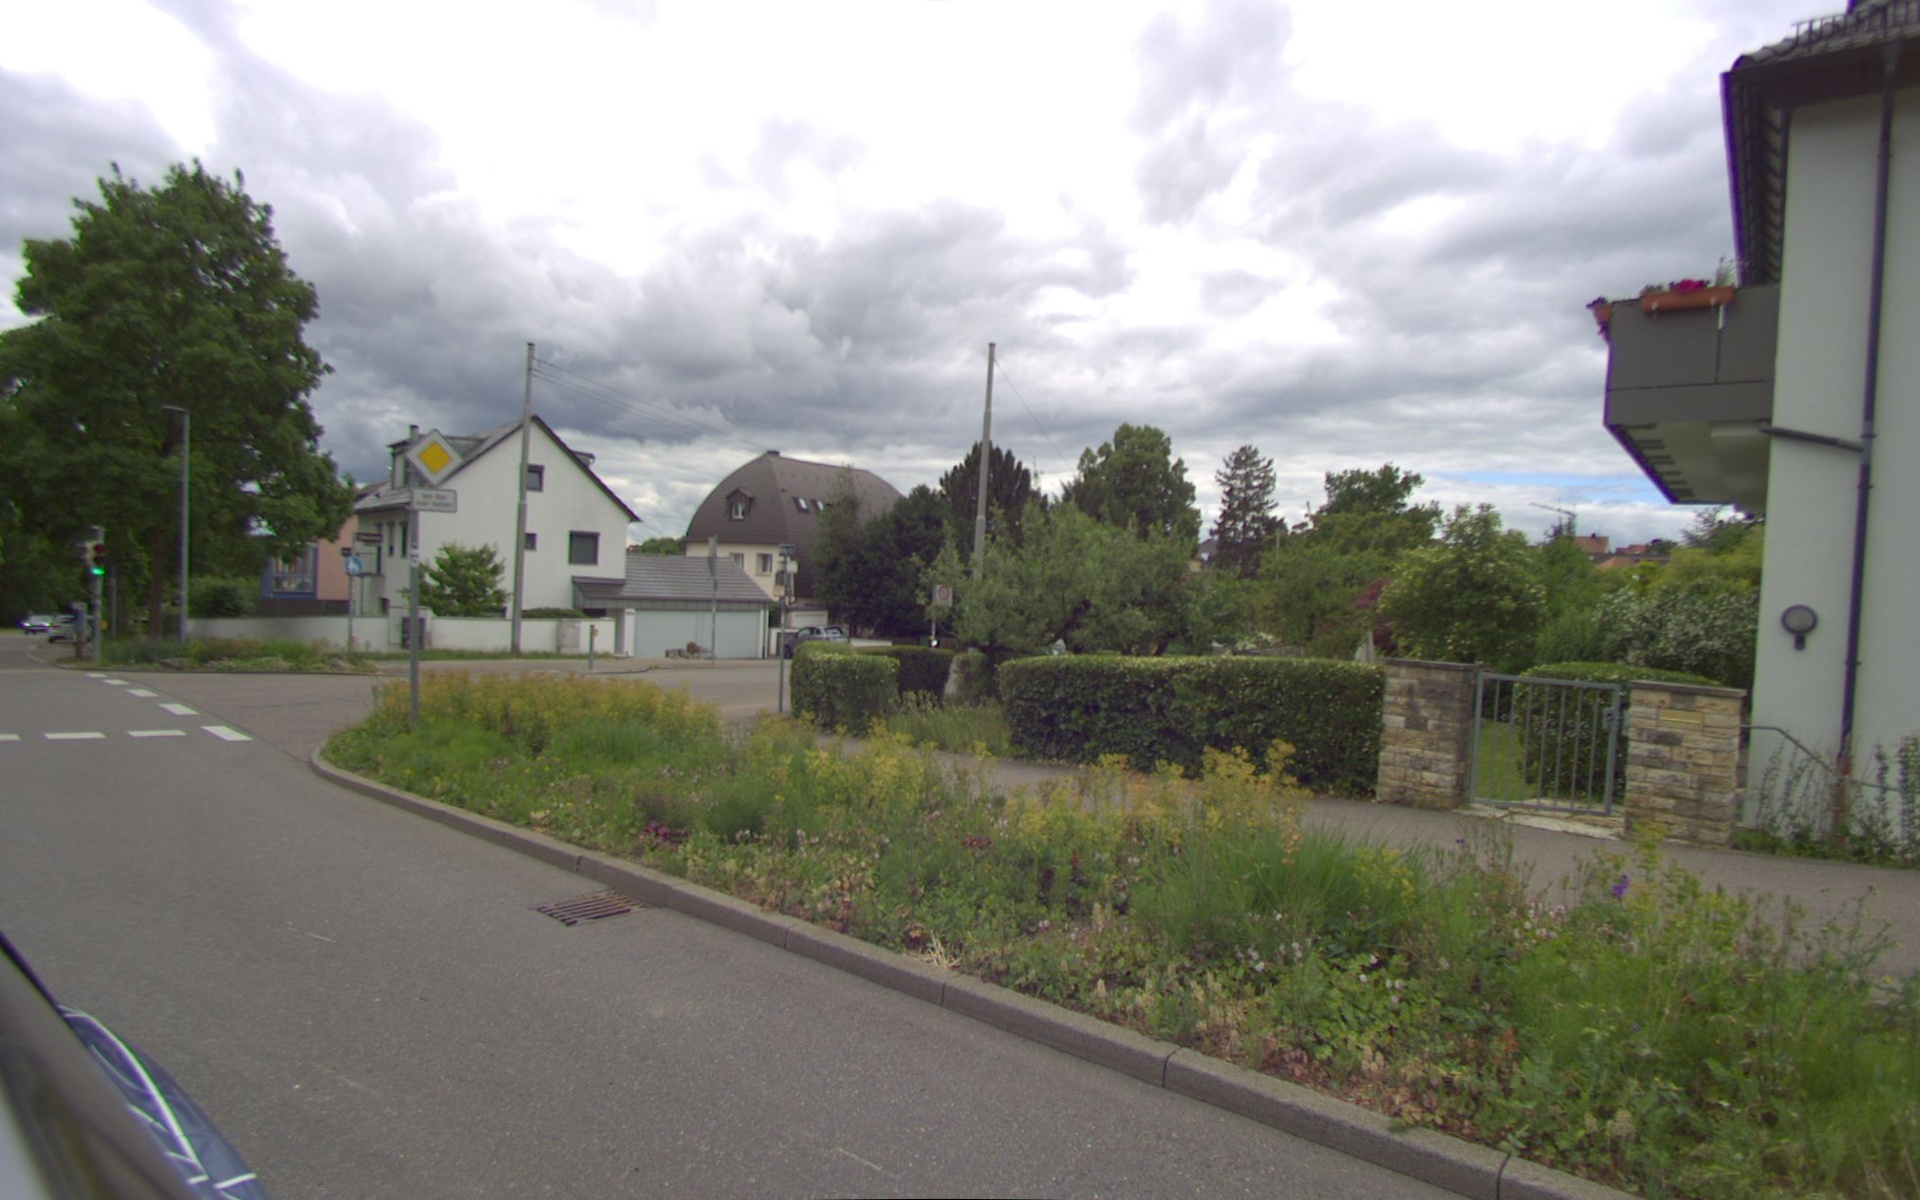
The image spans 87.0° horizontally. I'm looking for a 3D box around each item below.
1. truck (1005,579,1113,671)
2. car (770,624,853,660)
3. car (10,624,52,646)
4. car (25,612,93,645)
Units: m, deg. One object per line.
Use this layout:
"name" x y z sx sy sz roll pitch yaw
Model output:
"truck" 5.600 1.449 55.780 3.139 4.585 7.881 3 -1 26
"car" -6.690 1.912 45.417 3.858 1.508 1.668 -4 -5 42
"car" -72.973 2.765 79.544 1.542 1.524 3.408 4 -1 -28
"car" -48.347 1.506 54.376 1.966 1.563 4.012 4 -2 -32
